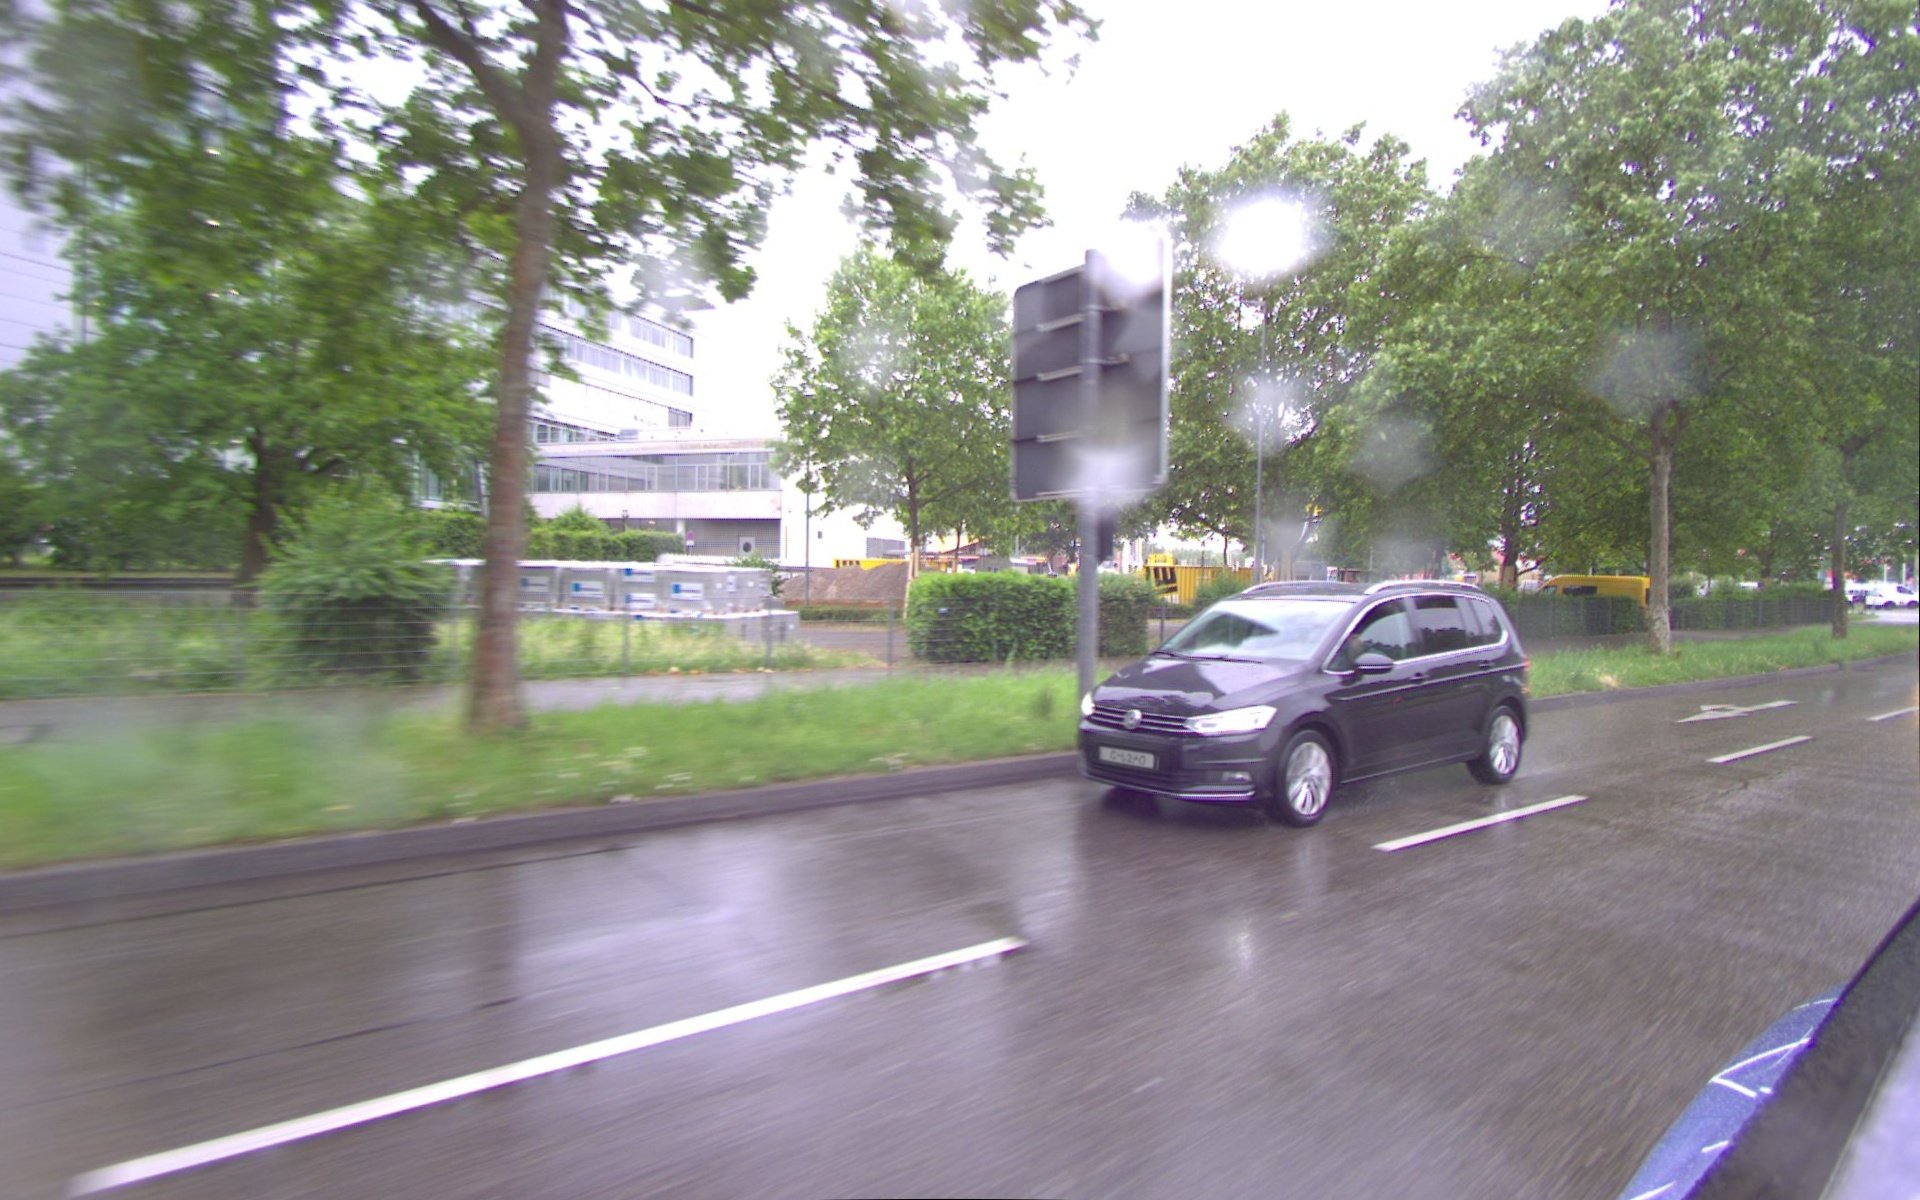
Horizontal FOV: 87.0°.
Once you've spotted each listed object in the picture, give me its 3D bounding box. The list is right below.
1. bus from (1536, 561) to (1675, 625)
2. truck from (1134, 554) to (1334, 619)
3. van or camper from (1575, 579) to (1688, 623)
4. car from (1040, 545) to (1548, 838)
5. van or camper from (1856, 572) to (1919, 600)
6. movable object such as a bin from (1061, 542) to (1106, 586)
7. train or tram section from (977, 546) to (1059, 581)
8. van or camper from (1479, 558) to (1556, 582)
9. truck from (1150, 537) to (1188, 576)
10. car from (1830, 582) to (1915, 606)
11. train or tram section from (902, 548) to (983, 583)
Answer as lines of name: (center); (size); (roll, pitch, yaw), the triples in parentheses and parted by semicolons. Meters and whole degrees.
bus: (28.525, -0.341, 44.892); (1.962, 2.680, 4.809); (0, 1, -35)
truck: (13.643, -0.644, 50.728); (9.375, 3.069, 3.064); (0, 1, 19)
van or camper: (30.630, 0.036, 46.273); (1.770, 1.931, 3.994); (0, 0, -40)
car: (2.784, 0.522, 8.044); (4.113, 1.748, 1.861); (0, 1, -38)
van or camper: (74.498, -1.117, 80.160); (4.838, 2.114, 1.860); (2, 2, 16)
movable object such as a bin: (10.508, -3.091, 86.731); (3.255, 3.670, 3.615); (1, 1, -1)
train or tram section: (6.110, -3.812, 106.532); (8.252, 3.564, 2.389); (-1, 1, 16)
van or camper: (76.656, -4.109, 139.417); (8.861, 3.196, 2.970); (0, 1, 19)
truck: (19.308, -3.929, 93.066); (2.463, 3.387, 9.418); (-1, 1, 18)
car: (70.283, -0.444, 78.015); (4.398, 1.693, 1.860); (2, 2, 16)
train or tram section: (-1.898, -3.694, 108.802); (8.409, 3.564, 2.389); (-1, 1, 16)
